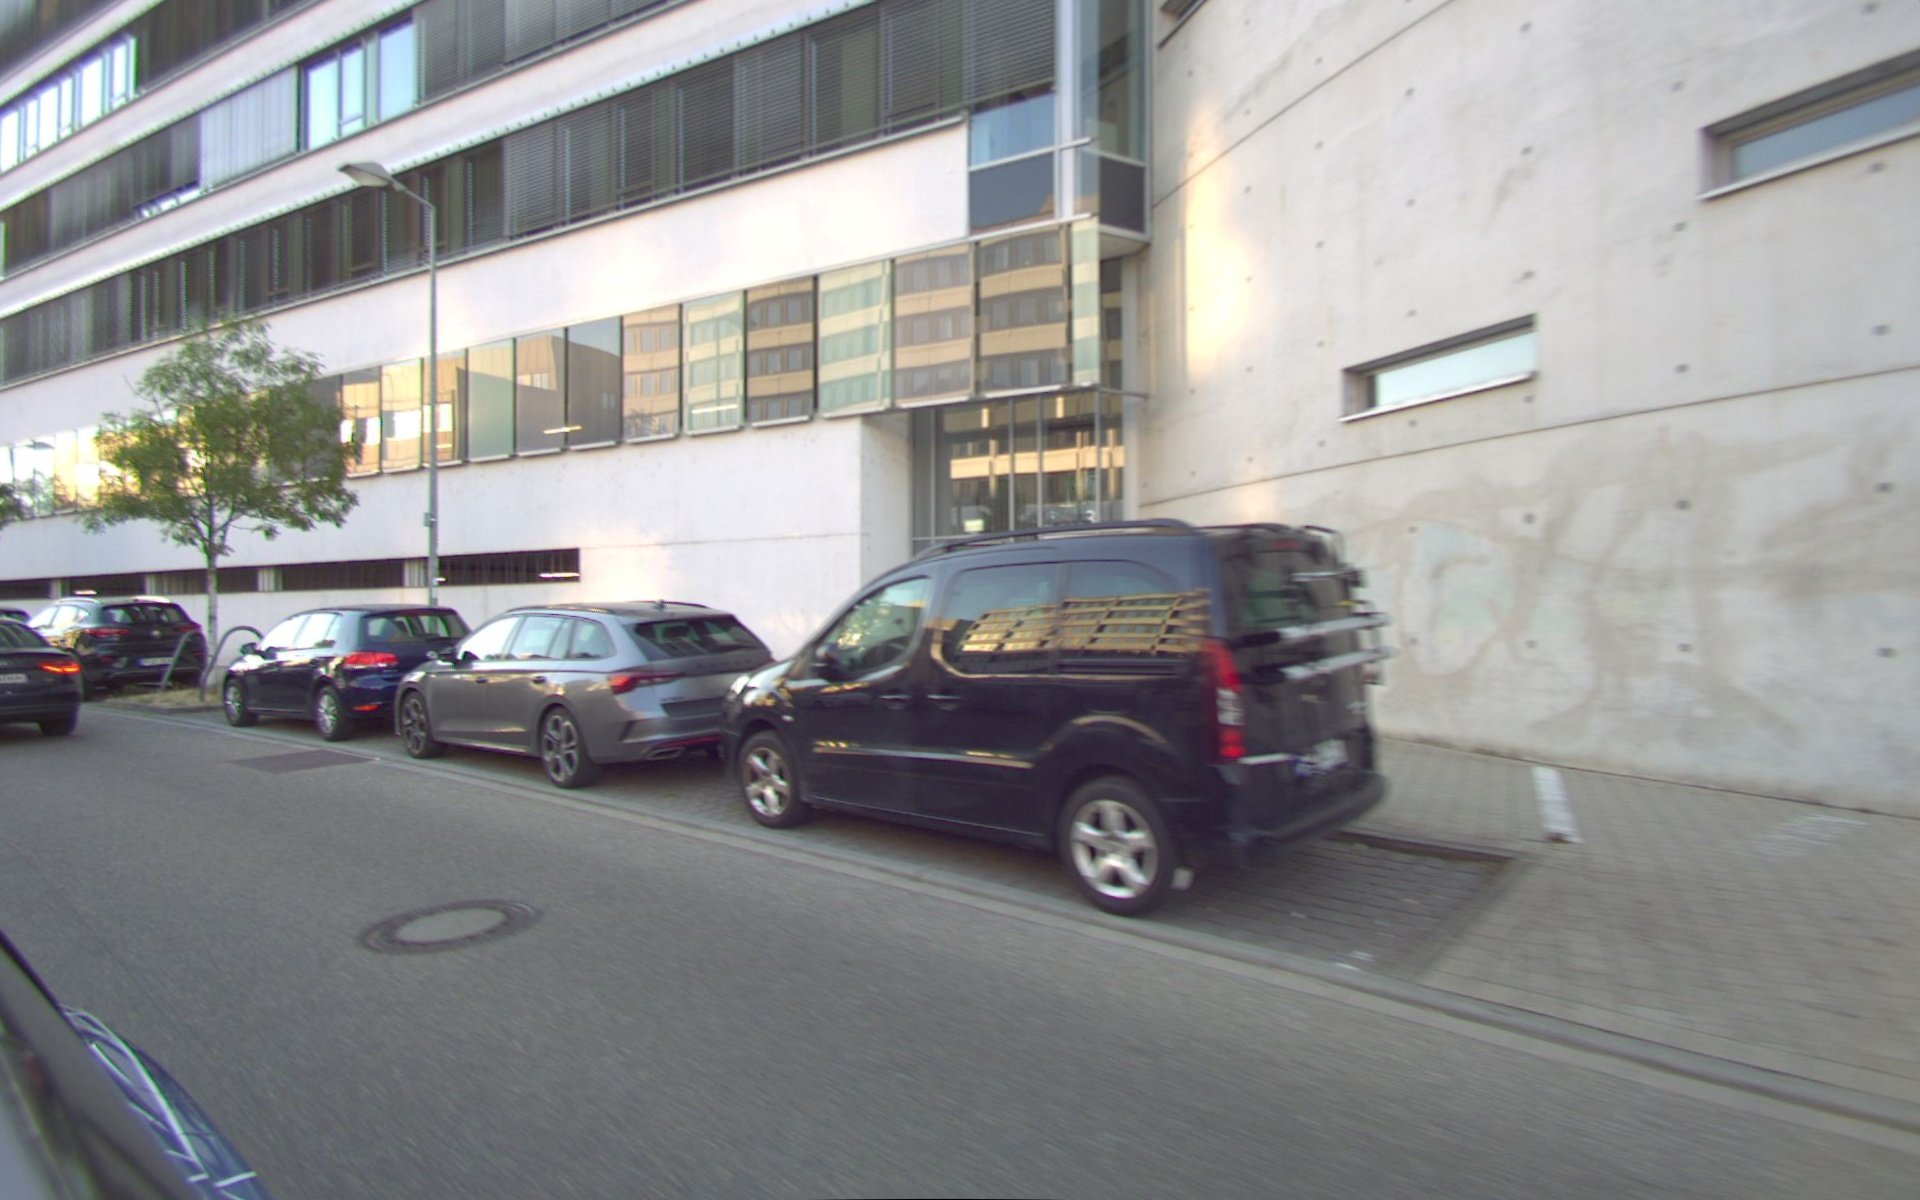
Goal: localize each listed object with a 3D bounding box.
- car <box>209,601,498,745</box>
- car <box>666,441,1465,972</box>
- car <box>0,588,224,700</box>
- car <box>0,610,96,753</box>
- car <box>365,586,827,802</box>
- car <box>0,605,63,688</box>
[{"bbox_3d":[-7.385,0.805,12.221,3.758,1.488,1.633,-1,-2,36],"label":"car"},{"bbox_3d":[0.274,0.429,6.048,4.519,1.987,1.868,-2,0,44],"label":"car"},{"bbox_3d":[-14.578,0.725,17.155,3.980,1.699,1.781,-1,-2,27],"label":"car"},{"bbox_3d":[-12.148,0.900,11.855,4.660,1.509,1.840,-1,-2,33],"label":"car"},{"bbox_3d":[-3.466,0.695,9.210,4.514,1.488,1.843,-2,0,39],"label":"car"},{"bbox_3d":[-20.196,0.940,20.432,3.980,1.563,1.781,-1,0,27],"label":"car"}]
